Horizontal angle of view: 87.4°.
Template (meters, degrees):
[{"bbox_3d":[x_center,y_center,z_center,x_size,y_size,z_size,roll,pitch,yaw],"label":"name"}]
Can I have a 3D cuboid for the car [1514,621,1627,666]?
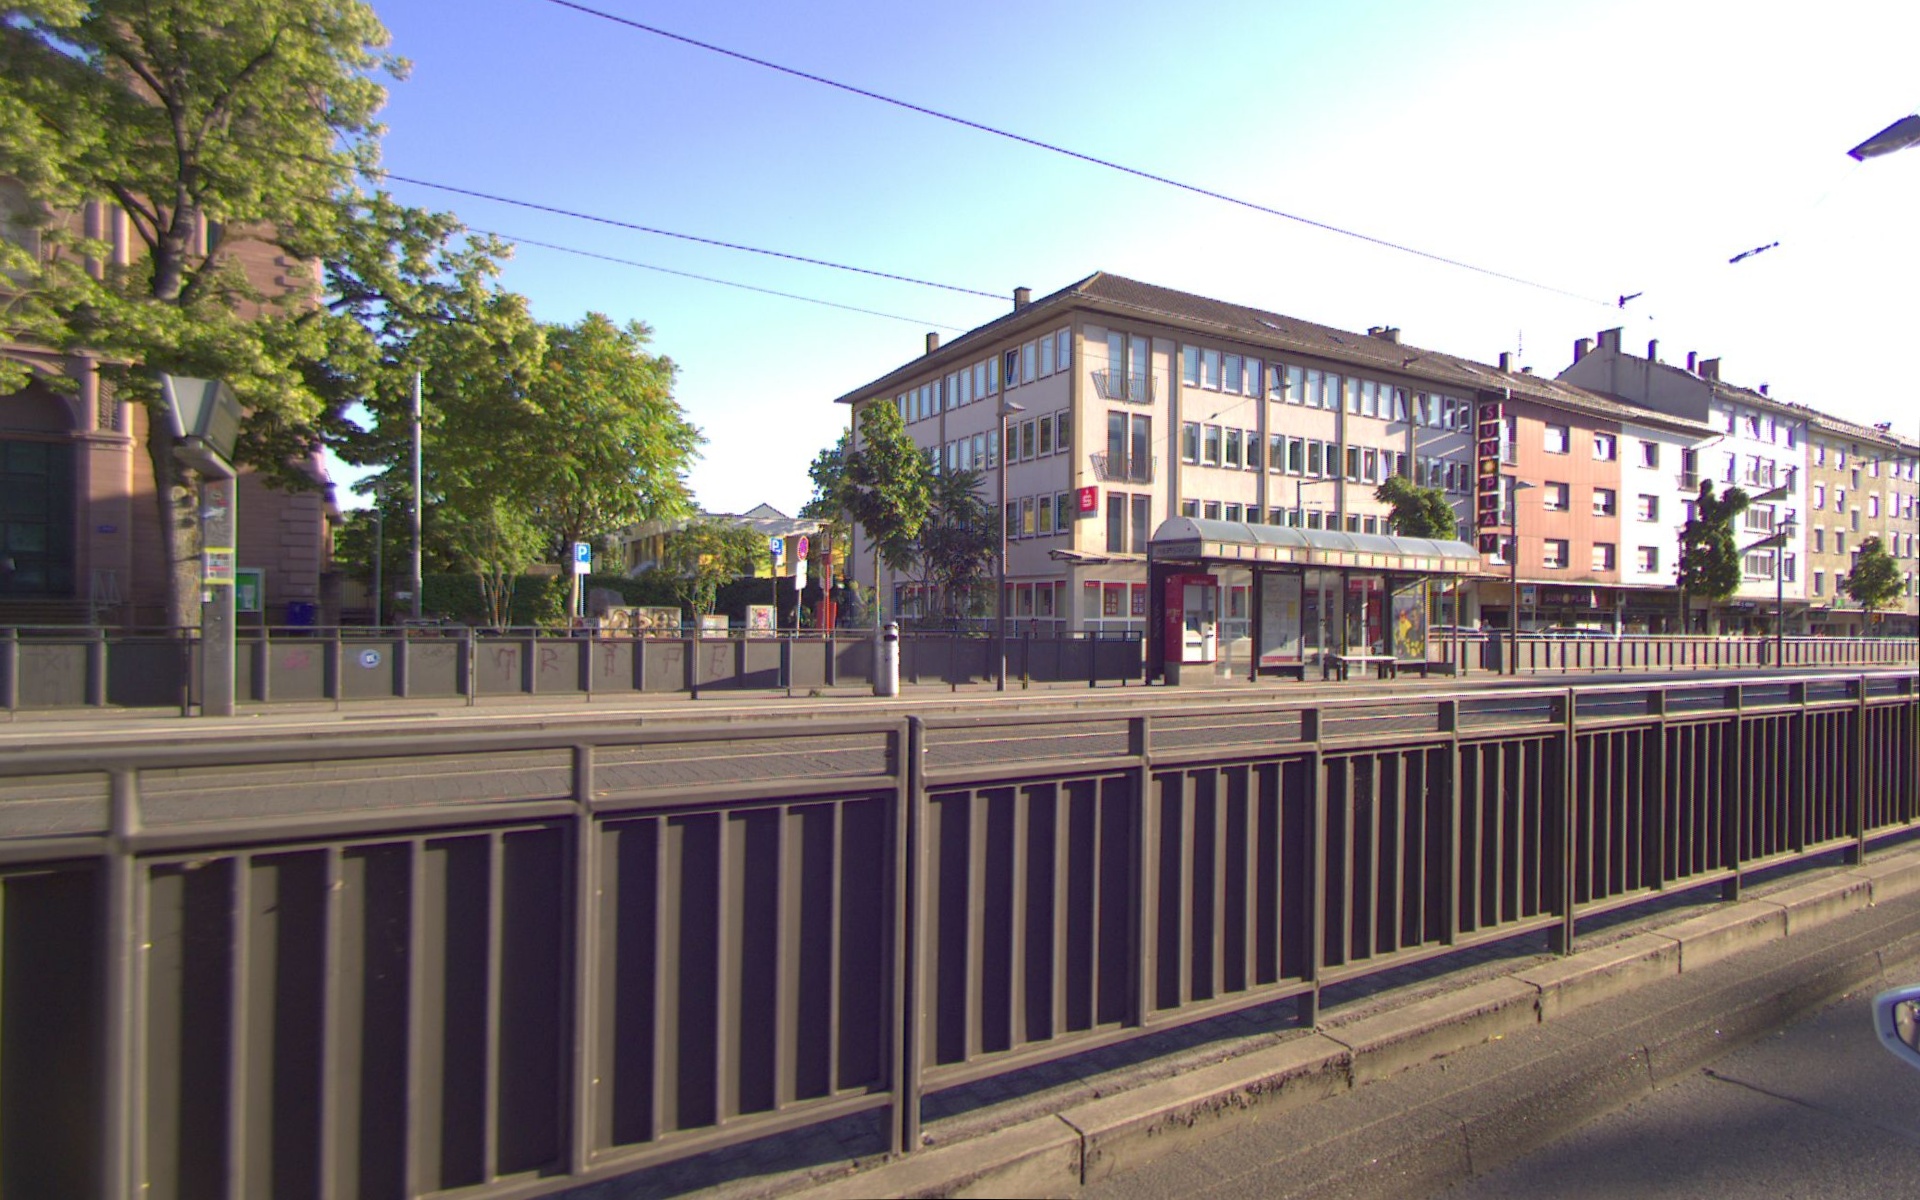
[{"bbox_3d":[24.108,1.709,39.782,3.440,1.702,1.772,0,-1,14],"label":"car"}]

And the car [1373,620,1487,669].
[{"bbox_3d":[17.039,1.601,36.552,3.439,1.702,1.772,0,-1,10],"label":"car"}]

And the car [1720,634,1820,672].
[{"bbox_3d":[41.052,2.696,50.975,3.440,1.701,1.772,-3,-1,14],"label":"car"}]
